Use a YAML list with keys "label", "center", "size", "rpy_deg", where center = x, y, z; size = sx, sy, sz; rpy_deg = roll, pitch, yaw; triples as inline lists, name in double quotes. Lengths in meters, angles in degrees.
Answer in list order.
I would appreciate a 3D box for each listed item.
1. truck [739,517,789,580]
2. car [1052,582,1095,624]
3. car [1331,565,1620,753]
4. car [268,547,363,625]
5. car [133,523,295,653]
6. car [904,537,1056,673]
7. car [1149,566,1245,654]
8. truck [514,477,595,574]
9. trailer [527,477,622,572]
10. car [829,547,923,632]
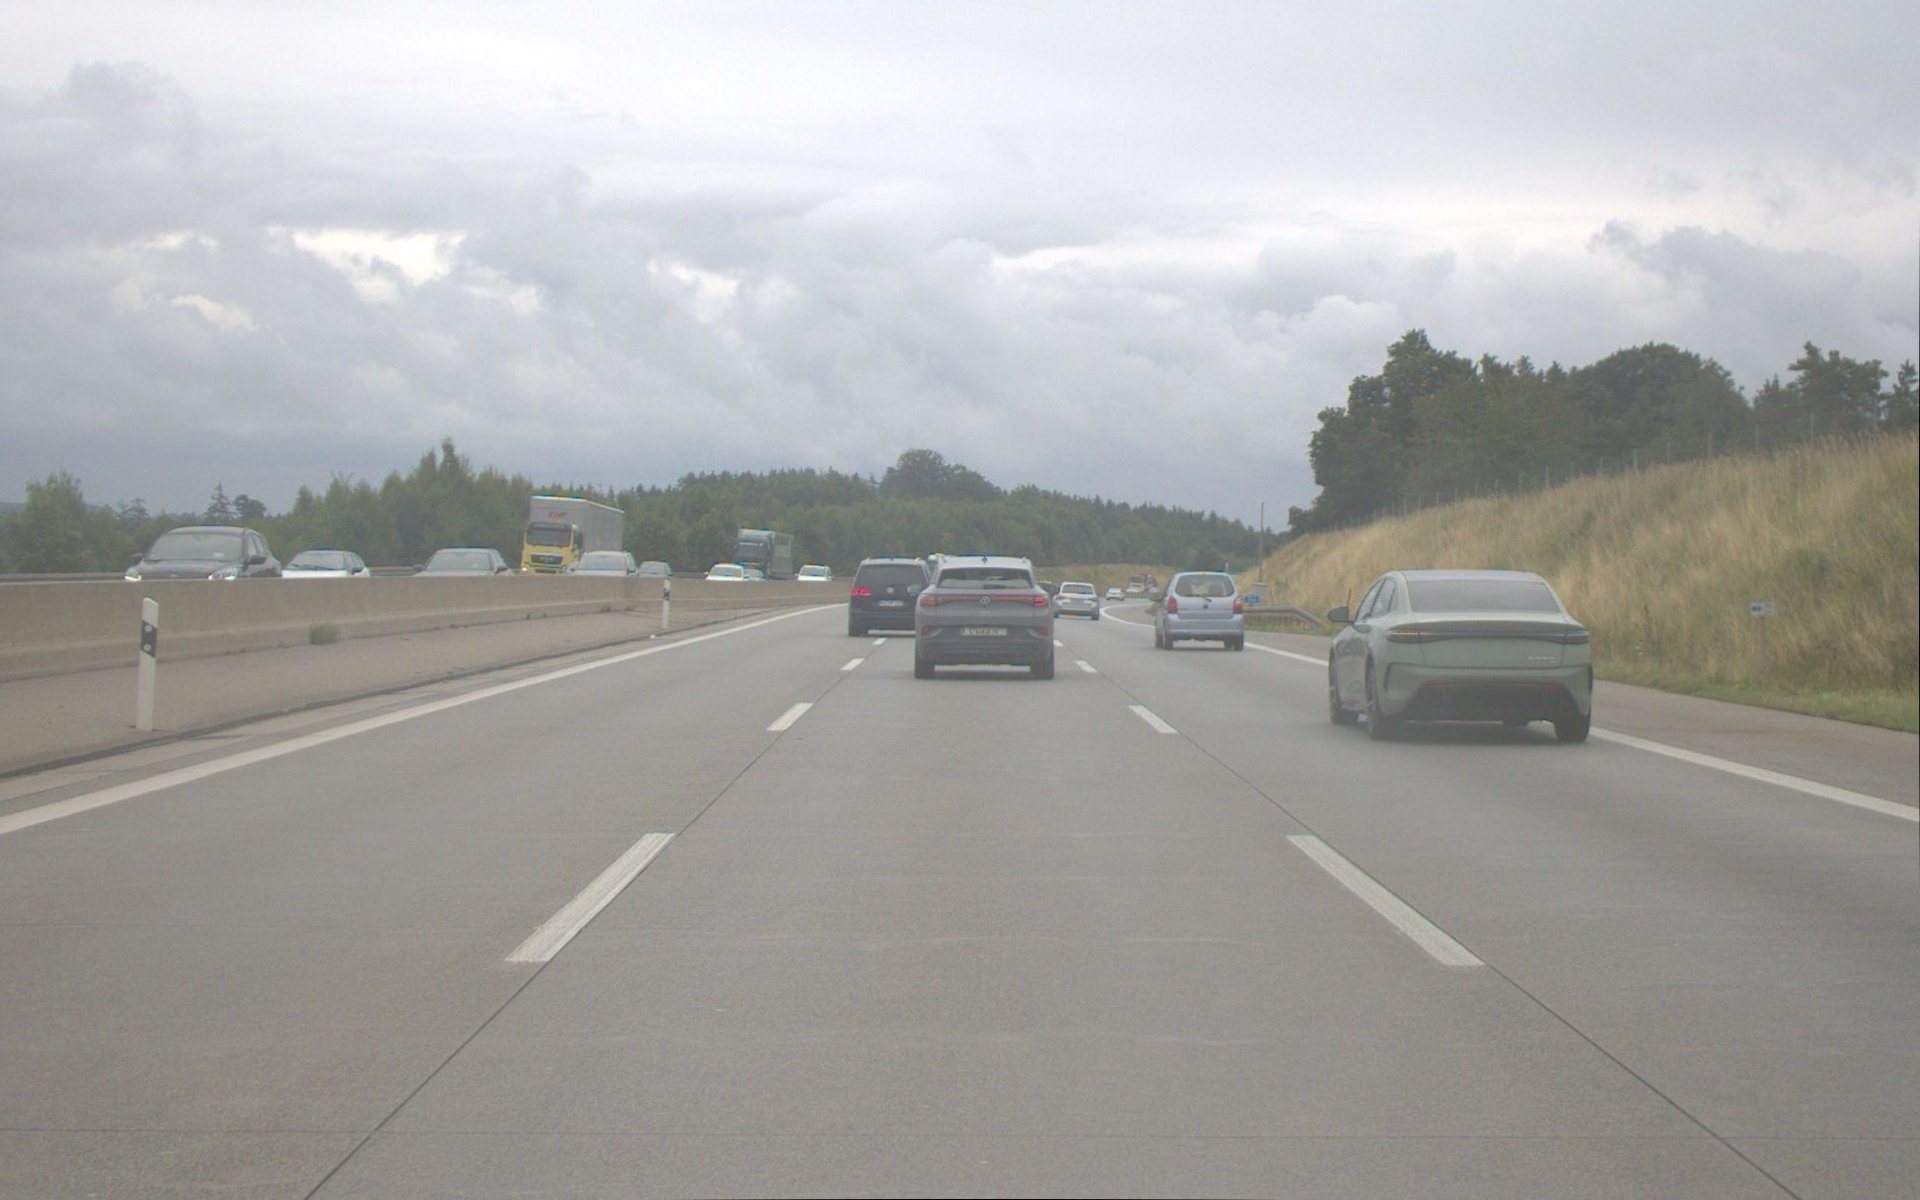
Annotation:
- label: "truck"
  center: [-13.949, -3.681, 245.281]
  size: [2.789, 4.248, 6.049]
  rpy_deg: [4, 1, 1]
- label: "car"
  center: [4.428, 0.102, 134.548]
  size: [1.485, 1.465, 3.505]
  rpy_deg: [3, 2, 0]
- label: "car"
  center: [4.453, 0.454, 30.363]
  size: [2.014, 1.441, 4.745]
  rpy_deg: [0, 2, 2]
- label: "car"
  center: [-15.327, -0.357, 81.882]
  size: [1.495, 1.742, 4.579]
  rpy_deg: [0, 2, -1]
- label: "car"
  center: [-12.110, -0.241, 56.047]
  size: [1.688, 2.007, 4.838]
  rpy_deg: [0, 2, -1]
- label: "car"
  center: [0.214, 0.016, 46.419]
  size: [1.898, 1.684, 5.267]
  rpy_deg: [0, 2, -1]
- label: "car"
  center: [4.382, 0.162, 63.928]
  size: [1.485, 1.465, 3.505]
  rpy_deg: [3, 2, 0]
- label: "truck"
  center: [-17.888, -3.313, 152.079]
  size: [2.931, 4.166, 5.858]
  rpy_deg: [0, 1, 0]
- label: "trailer"
  center: [-17.809, -3.544, 159.617]
  size: [2.918, 4.203, 11.873]
  rpy_deg: [0, 2, 1]
- label: "car"
  center: [-1.788, -0.256, 74.375]
  size: [1.785, 1.741, 3.915]
  rpy_deg: [0, 2, 2]
